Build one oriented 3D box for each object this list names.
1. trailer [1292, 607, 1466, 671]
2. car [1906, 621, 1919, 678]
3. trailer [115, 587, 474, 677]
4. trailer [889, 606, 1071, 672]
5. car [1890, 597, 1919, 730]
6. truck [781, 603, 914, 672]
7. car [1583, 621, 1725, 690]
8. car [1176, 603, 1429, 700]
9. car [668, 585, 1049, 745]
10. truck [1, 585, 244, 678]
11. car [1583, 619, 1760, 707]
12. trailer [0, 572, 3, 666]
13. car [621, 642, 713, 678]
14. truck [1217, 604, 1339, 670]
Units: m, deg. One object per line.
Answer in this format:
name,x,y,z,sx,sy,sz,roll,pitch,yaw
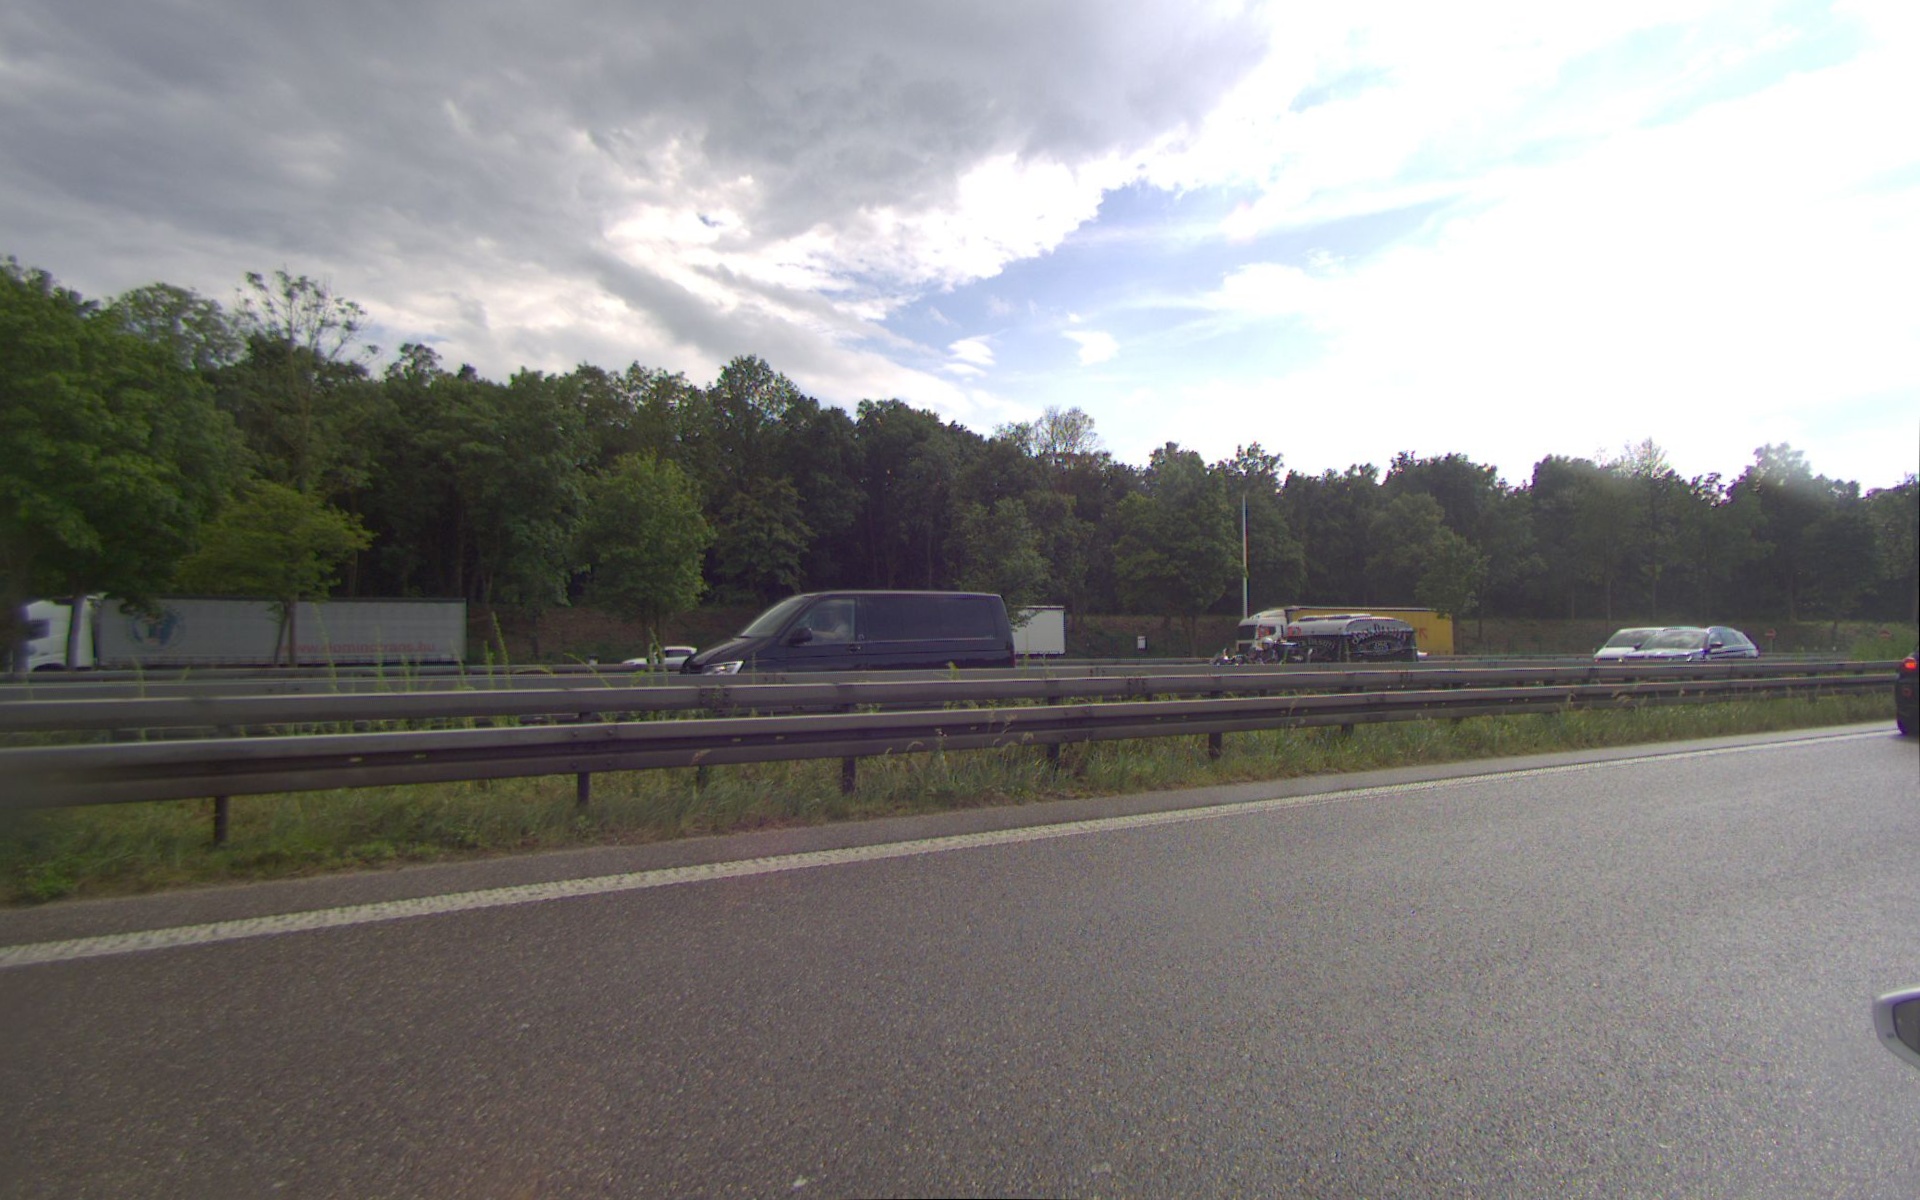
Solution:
trailer,29.479,2.735,70.687,11.538,4.171,3.786,2,0,-17
car,37.843,1.910,37.742,5.150,2.073,2.041,2,0,-31
trailer,-29.721,1.497,46.043,13.188,3.697,3.771,1,-2,-30
trailer,1.231,2.335,60.582,10.350,3.697,3.780,1,-2,-24
car,15.120,0.939,14.444,3.934,1.828,1.682,2,0,-34
truck,-6.392,2.123,57.071,6.615,3.709,3.776,2,0,-25
car,22.867,1.801,33.082,4.599,2.073,2.163,2,0,-31
car,8.358,1.201,24.234,6.427,2.073,2.163,2,-1,-31
car,-1.341,0.849,14.201,5.001,1.916,1.943,2,0,-31
truck,-35.266,1.317,42.805,7.269,3.637,3.769,2,0,-30
car,18.797,1.615,26.501,4.599,2.073,2.163,2,0,-31
trailer,-45.557,0.868,37.432,13.638,4.464,3.771,1,-2,-30
car,-15.421,3.154,52.910,4.313,1.741,2.050,2,0,-28
truck,21.565,2.473,68.205,6.933,4.171,3.786,2,0,-17
